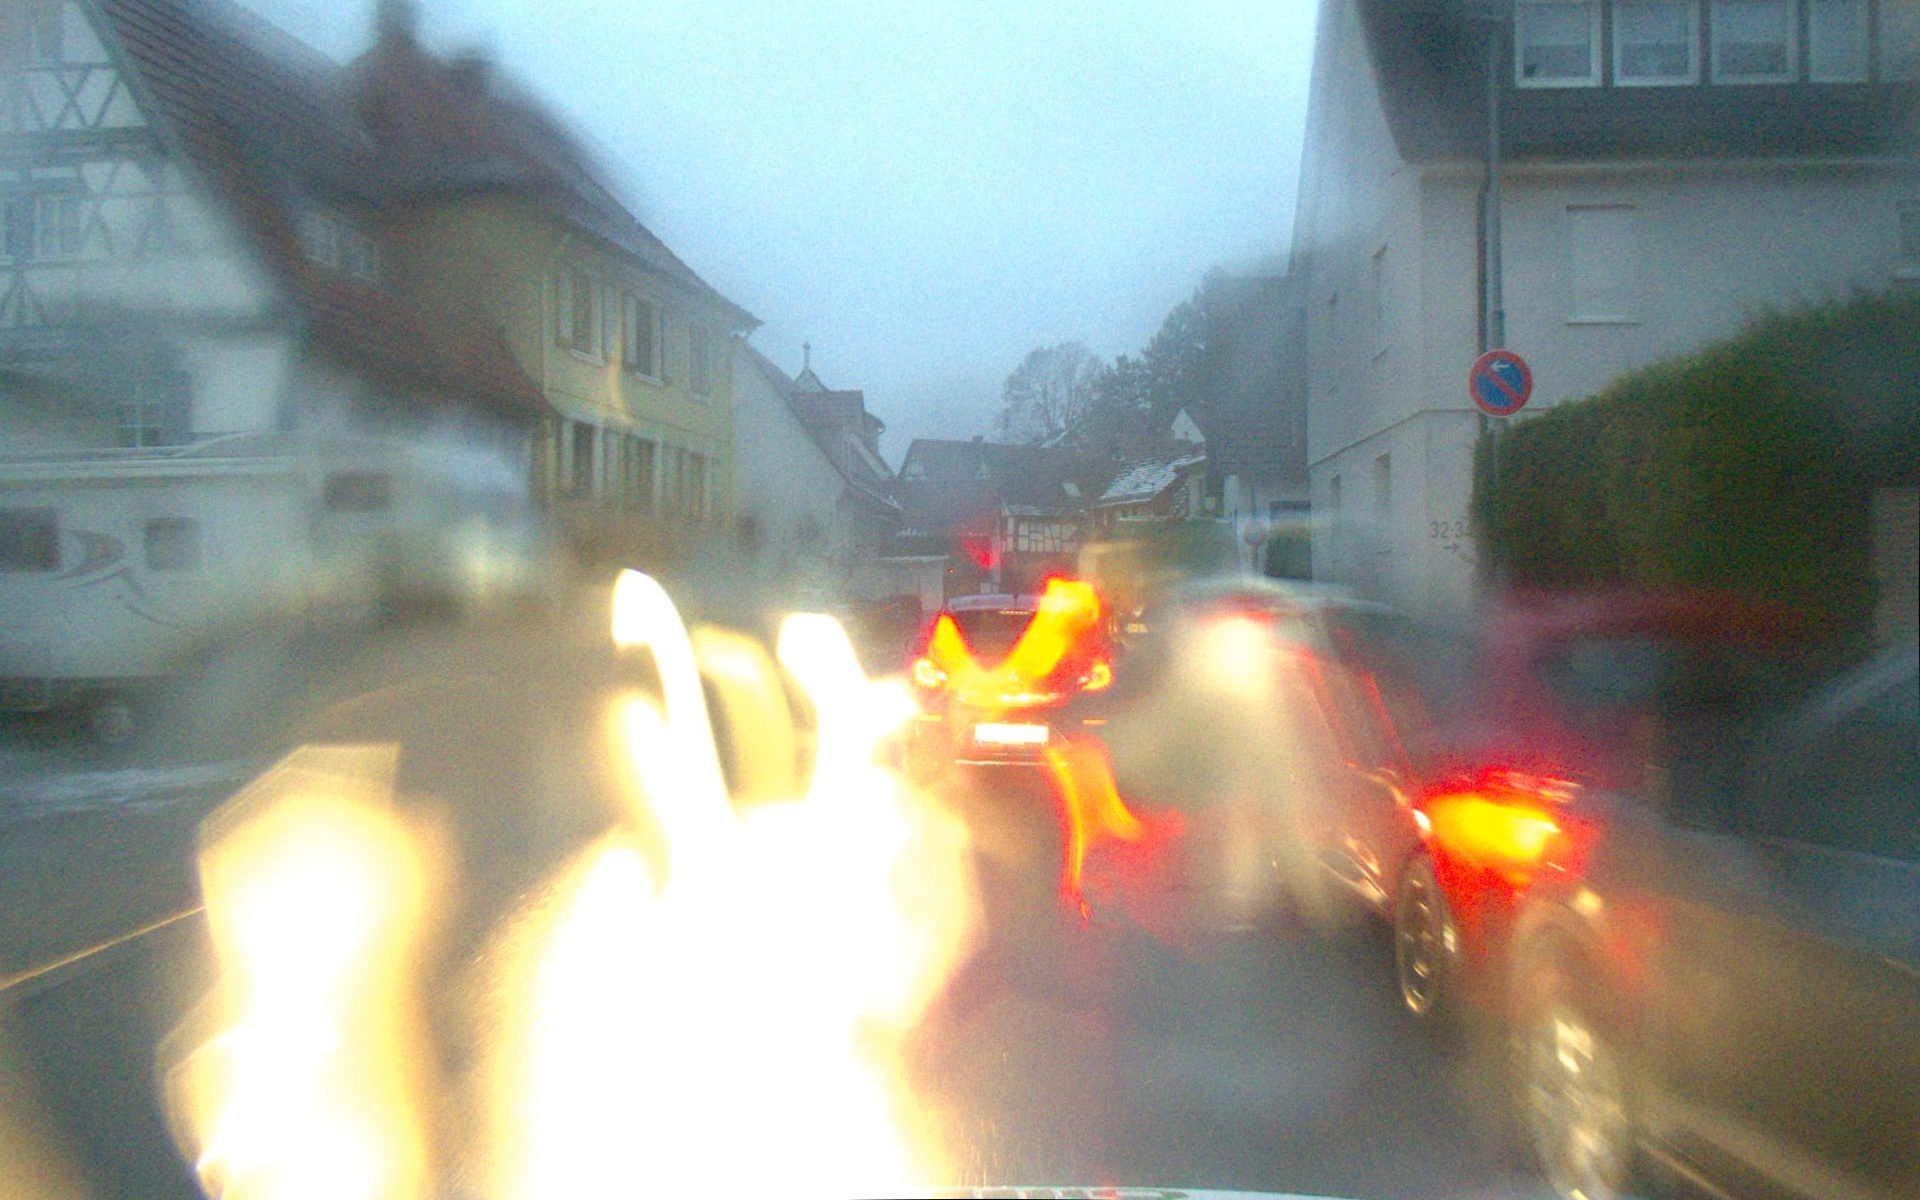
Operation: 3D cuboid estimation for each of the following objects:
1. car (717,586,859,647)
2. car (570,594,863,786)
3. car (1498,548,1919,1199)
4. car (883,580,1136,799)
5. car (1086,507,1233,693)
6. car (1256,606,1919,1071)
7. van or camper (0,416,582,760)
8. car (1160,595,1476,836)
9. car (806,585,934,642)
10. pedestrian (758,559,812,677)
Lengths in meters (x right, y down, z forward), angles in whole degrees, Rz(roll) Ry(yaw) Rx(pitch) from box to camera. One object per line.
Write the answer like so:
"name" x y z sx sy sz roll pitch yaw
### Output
"car" -4.505 0.419 43.655 3.433 1.533 1.693 0 0 7
"car" -1.952 0.664 14.553 1.829 1.426 4.367 0 0 1
"car" 2.358 0.700 2.396 1.762 1.561 3.999 0 0 -2
"car" 0.382 0.623 13.639 1.758 1.502 4.000 1 0 1
"car" 2.777 -0.007 23.749 1.776 2.455 3.752 0 0 2
"car" 2.426 0.755 7.077 1.645 1.419 3.751 0 0 0
"van or camper" -7.226 -0.073 16.975 5.933 3.006 2.408 -3 0 5
"car" 2.526 0.733 12.505 1.689 1.534 3.752 0 0 2
"car" -2.494 0.370 46.302 3.435 1.533 1.692 0 0 1
"pedestrian" -3.086 0.312 29.233 0.855 2.049 0.795 0 0 0
